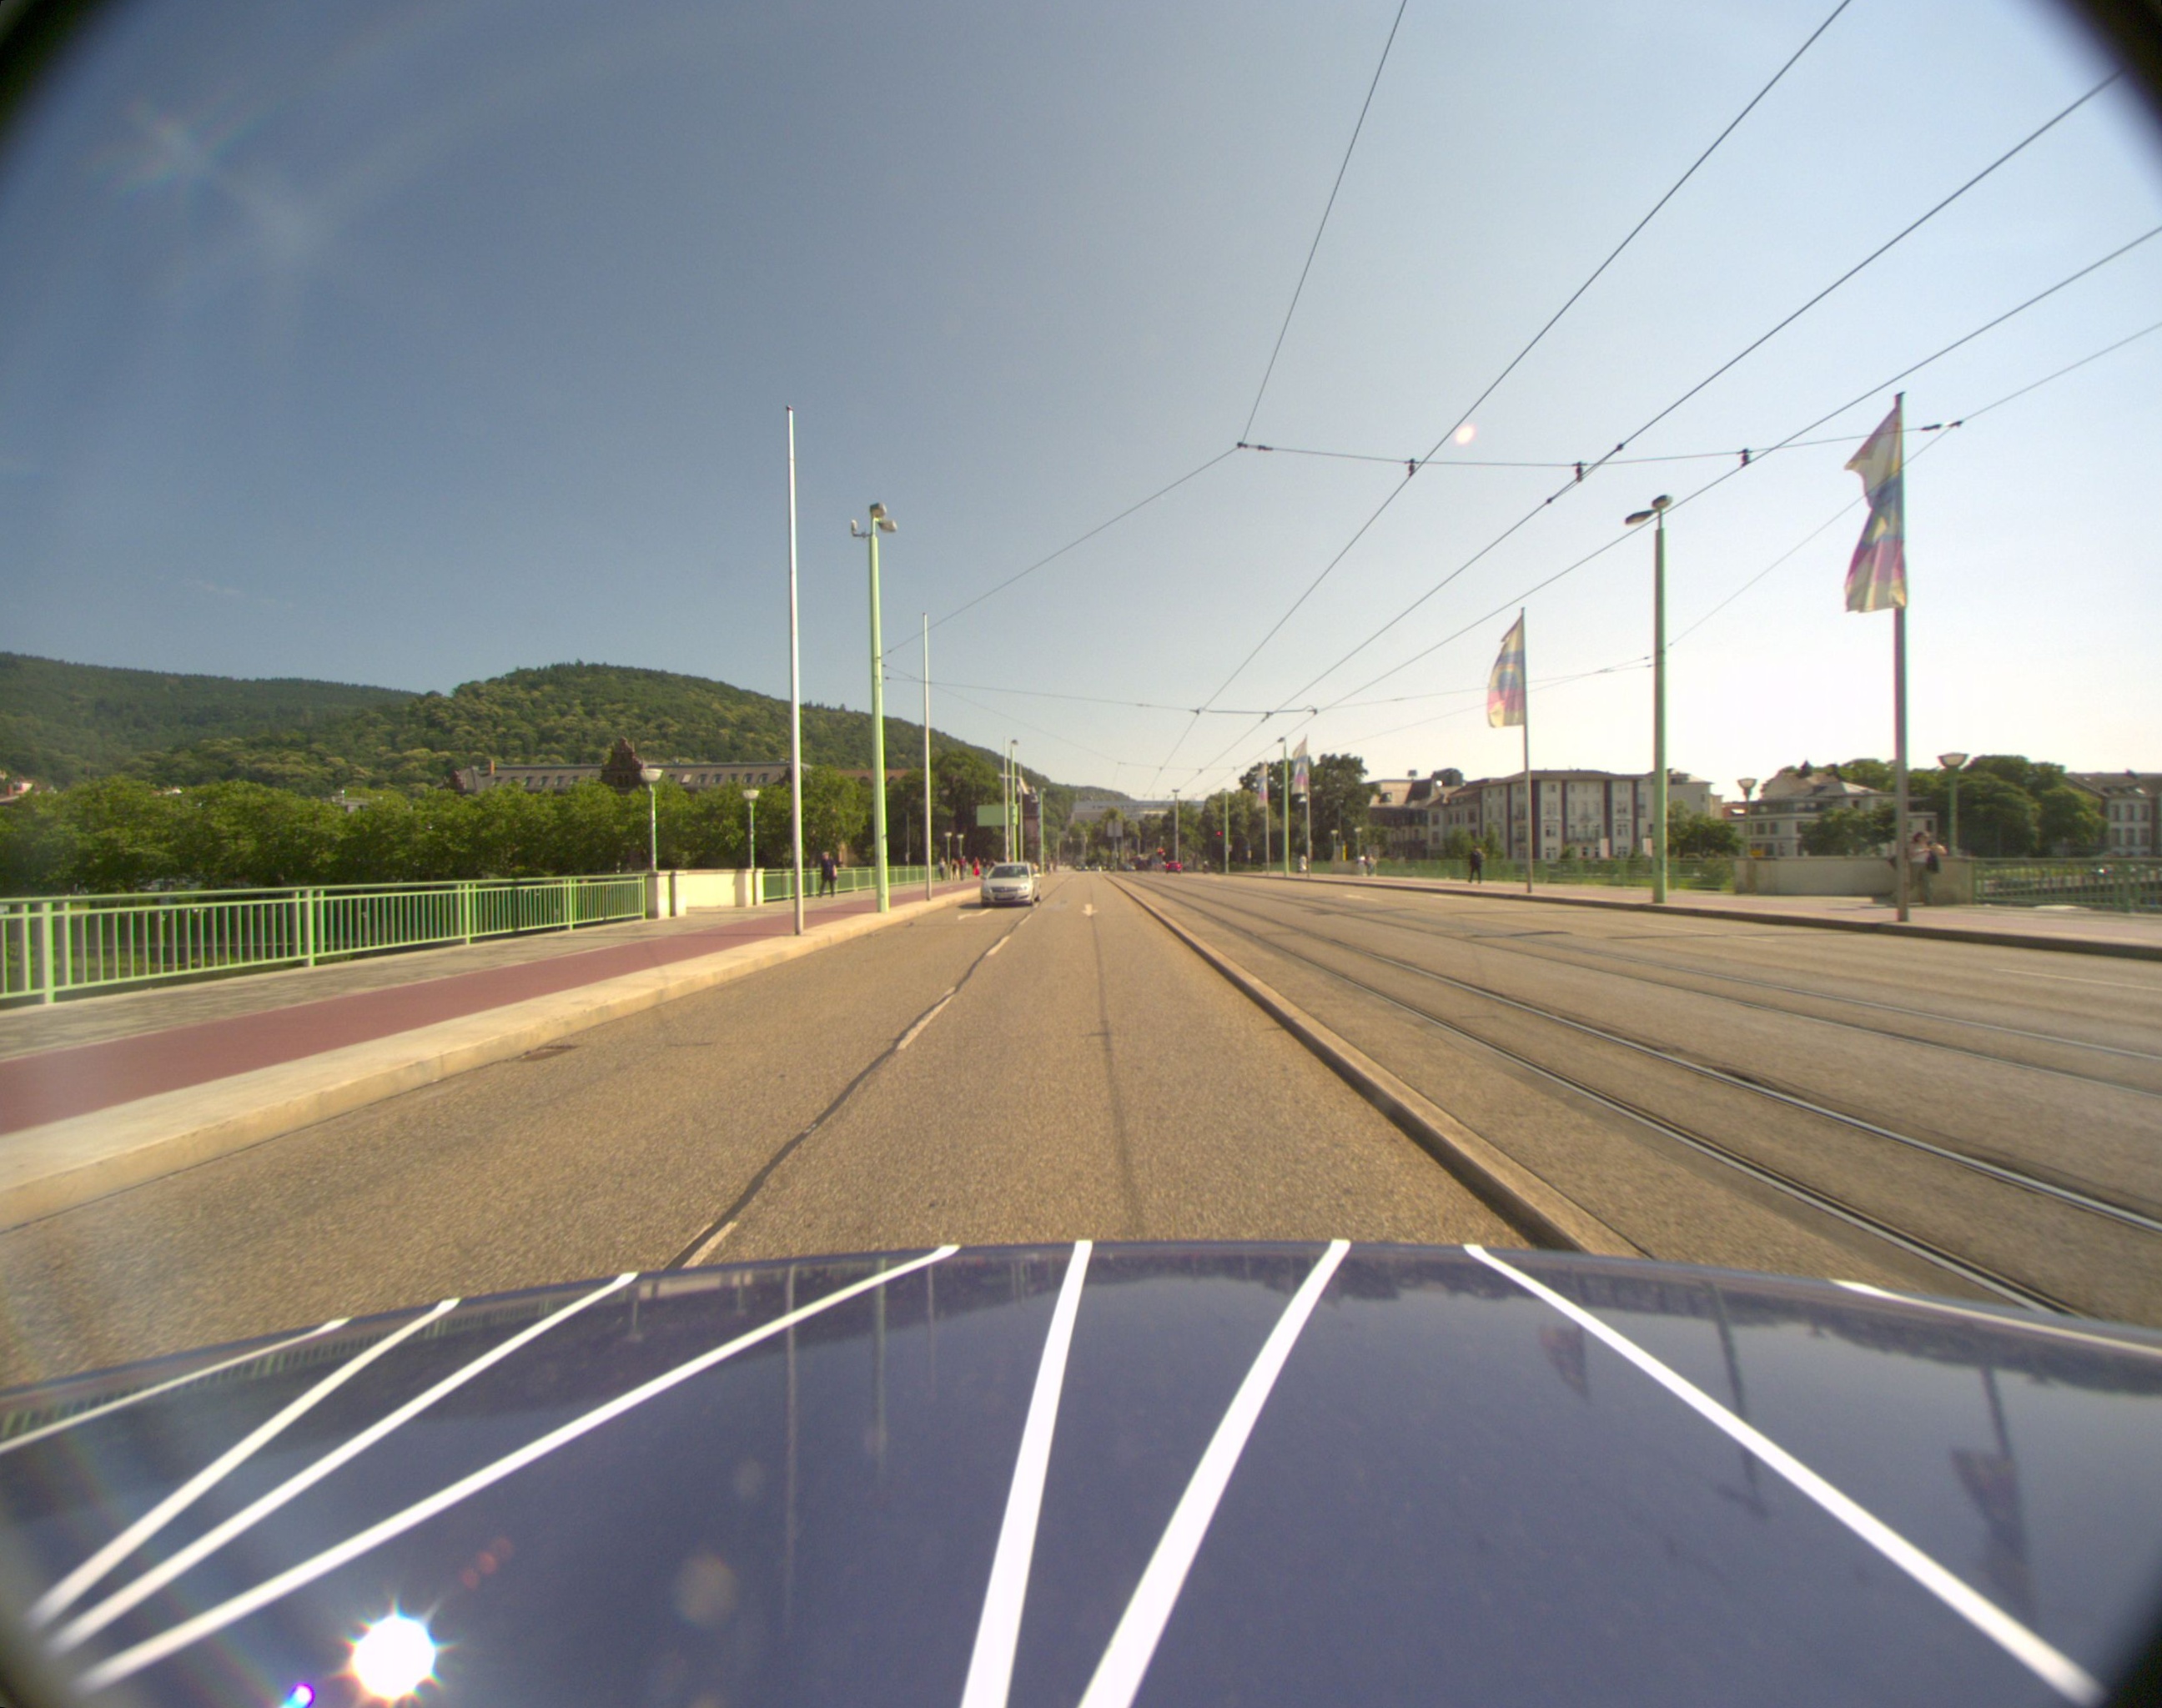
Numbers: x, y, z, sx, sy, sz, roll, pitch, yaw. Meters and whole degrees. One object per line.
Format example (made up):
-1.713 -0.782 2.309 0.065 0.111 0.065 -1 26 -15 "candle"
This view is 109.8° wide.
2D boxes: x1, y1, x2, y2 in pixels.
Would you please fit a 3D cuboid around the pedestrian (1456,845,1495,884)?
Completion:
18.185 0.469 35.072 1.100 1.748 1.295 -1 0 -2 "pedestrian"

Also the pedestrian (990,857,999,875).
-7.865 1.102 69.182 0.836 1.667 0.885 -1 1 -5 "pedestrian"

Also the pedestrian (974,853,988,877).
-8.277 0.891 63.197 1.018 1.942 0.939 -1 1 -2 "pedestrian"

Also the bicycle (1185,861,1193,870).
14.377 1.480 100.875 0.760 1.107 1.921 -3 -2 2 "bicycle"

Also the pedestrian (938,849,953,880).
-8.837 0.700 49.665 0.876 2.002 1.058 -1 1 -5 "pedestrian"

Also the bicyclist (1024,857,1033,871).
-5.580 1.058 80.995 0.912 1.385 1.232 -1 1 0 "bicyclist"

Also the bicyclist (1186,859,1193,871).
14.399 1.412 100.854 0.879 1.599 0.772 0 -1 3 "bicyclist"

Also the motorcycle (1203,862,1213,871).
15.568 1.542 93.320 0.847 1.019 1.951 -2 0 -1 "motorcycle"

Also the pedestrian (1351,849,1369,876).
19.018 0.577 51.802 0.740 1.774 0.957 -4 0 -2 "pedestrian"

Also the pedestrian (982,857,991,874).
-9.261 1.158 74.406 0.651 1.622 0.692 -2 0 1 "pedestrian"

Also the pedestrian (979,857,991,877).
-8.425 1.119 66.554 0.988 1.759 1.254 0 0 -5 "pedestrian"

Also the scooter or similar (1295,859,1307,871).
19.505 0.981 67.385 0.740 1.023 0.832 -4 0 -2 "scooter or similar"

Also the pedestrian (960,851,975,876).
-8.804 0.741 59.059 0.987 1.884 1.254 -1 1 -4 "pedestrian"

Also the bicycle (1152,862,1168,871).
10.458 1.636 100.408 1.916 1.107 0.762 -1 1 16 "bicycle"

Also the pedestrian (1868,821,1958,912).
19.029 0.284 17.406 0.901 2.002 1.042 -1 0 -2 "pedestrian"

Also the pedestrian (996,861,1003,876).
-8.338 1.454 77.575 0.651 1.553 0.692 0 -1 1 "pedestrian"

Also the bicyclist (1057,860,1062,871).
-3.998 2.119 140.495 0.944 2.002 0.830 0 0 -5 "bicyclist"

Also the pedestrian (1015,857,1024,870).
-7.571 1.208 93.626 0.988 1.606 0.921 -1 1 -5 "pedestrian"

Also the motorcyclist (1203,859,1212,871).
15.555 1.326 93.417 0.847 1.393 0.898 -2 0 -2 "motorcyclist"

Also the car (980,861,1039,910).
-2.382 1.025 26.400 1.803 1.492 4.496 -1 -1 -3 "car"

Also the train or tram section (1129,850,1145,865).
12.752 0.793 172.711 2.768 3.383 5.885 0 -1 -4 "train or tram section"

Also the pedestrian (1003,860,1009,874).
-9.157 1.609 92.479 0.697 1.706 0.731 -1 1 -5 "pedestrian"

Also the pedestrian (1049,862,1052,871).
-6.255 2.531 155.078 0.636 1.880 0.903 -1 0 -6 "pedestrian"

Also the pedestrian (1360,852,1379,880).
19.673 0.786 51.855 0.740 1.838 1.121 -4 0 -2 "pedestrian"

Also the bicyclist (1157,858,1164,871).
10.541 1.384 100.390 0.770 1.600 0.881 -1 1 16 "bicyclist"

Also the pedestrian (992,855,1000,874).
-7.425 0.884 66.532 0.656 1.640 0.868 -1 1 -5 "pedestrian"

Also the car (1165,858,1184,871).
11.345 1.246 92.620 1.998 1.506 4.190 -1 0 4 "car"

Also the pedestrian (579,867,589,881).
-64.796 2.602 99.042 0.742 1.764 0.676 -2 0 -5 "pedestrian"

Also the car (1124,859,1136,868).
8.512 1.625 131.335 1.752 1.477 4.748 1 -1 0 "car"

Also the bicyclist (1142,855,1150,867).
8.780 0.959 102.530 0.878 1.599 0.773 -1 1 19 "bicyclist"

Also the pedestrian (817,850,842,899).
-9.232 0.749 27.922 0.656 1.733 0.978 -1 -1 -5 "pedestrian"

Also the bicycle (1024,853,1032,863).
-5.623 0.441 80.916 0.643 1.076 2.497 0 -1 0 "bicycle"

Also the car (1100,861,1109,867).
5.038 2.151 164.275 1.638 1.300 3.913 0 -1 -5 "car"

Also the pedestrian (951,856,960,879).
-9.019 0.941 54.580 0.524 1.640 0.699 -1 1 -5 "pedestrian"

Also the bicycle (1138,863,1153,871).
8.741 1.758 102.536 1.916 1.107 0.762 -1 1 18 "bicycle"

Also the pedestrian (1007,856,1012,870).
-8.812 1.126 93.792 0.550 1.788 0.645 -1 1 -5 "pedestrian"

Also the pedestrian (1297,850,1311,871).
19.516 0.566 66.469 0.740 1.842 0.975 -4 0 -2 "pedestrian"

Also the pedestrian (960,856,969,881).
-8.366 1.005 54.532 0.587 1.783 0.632 -1 1 -4 "pedestrian"
